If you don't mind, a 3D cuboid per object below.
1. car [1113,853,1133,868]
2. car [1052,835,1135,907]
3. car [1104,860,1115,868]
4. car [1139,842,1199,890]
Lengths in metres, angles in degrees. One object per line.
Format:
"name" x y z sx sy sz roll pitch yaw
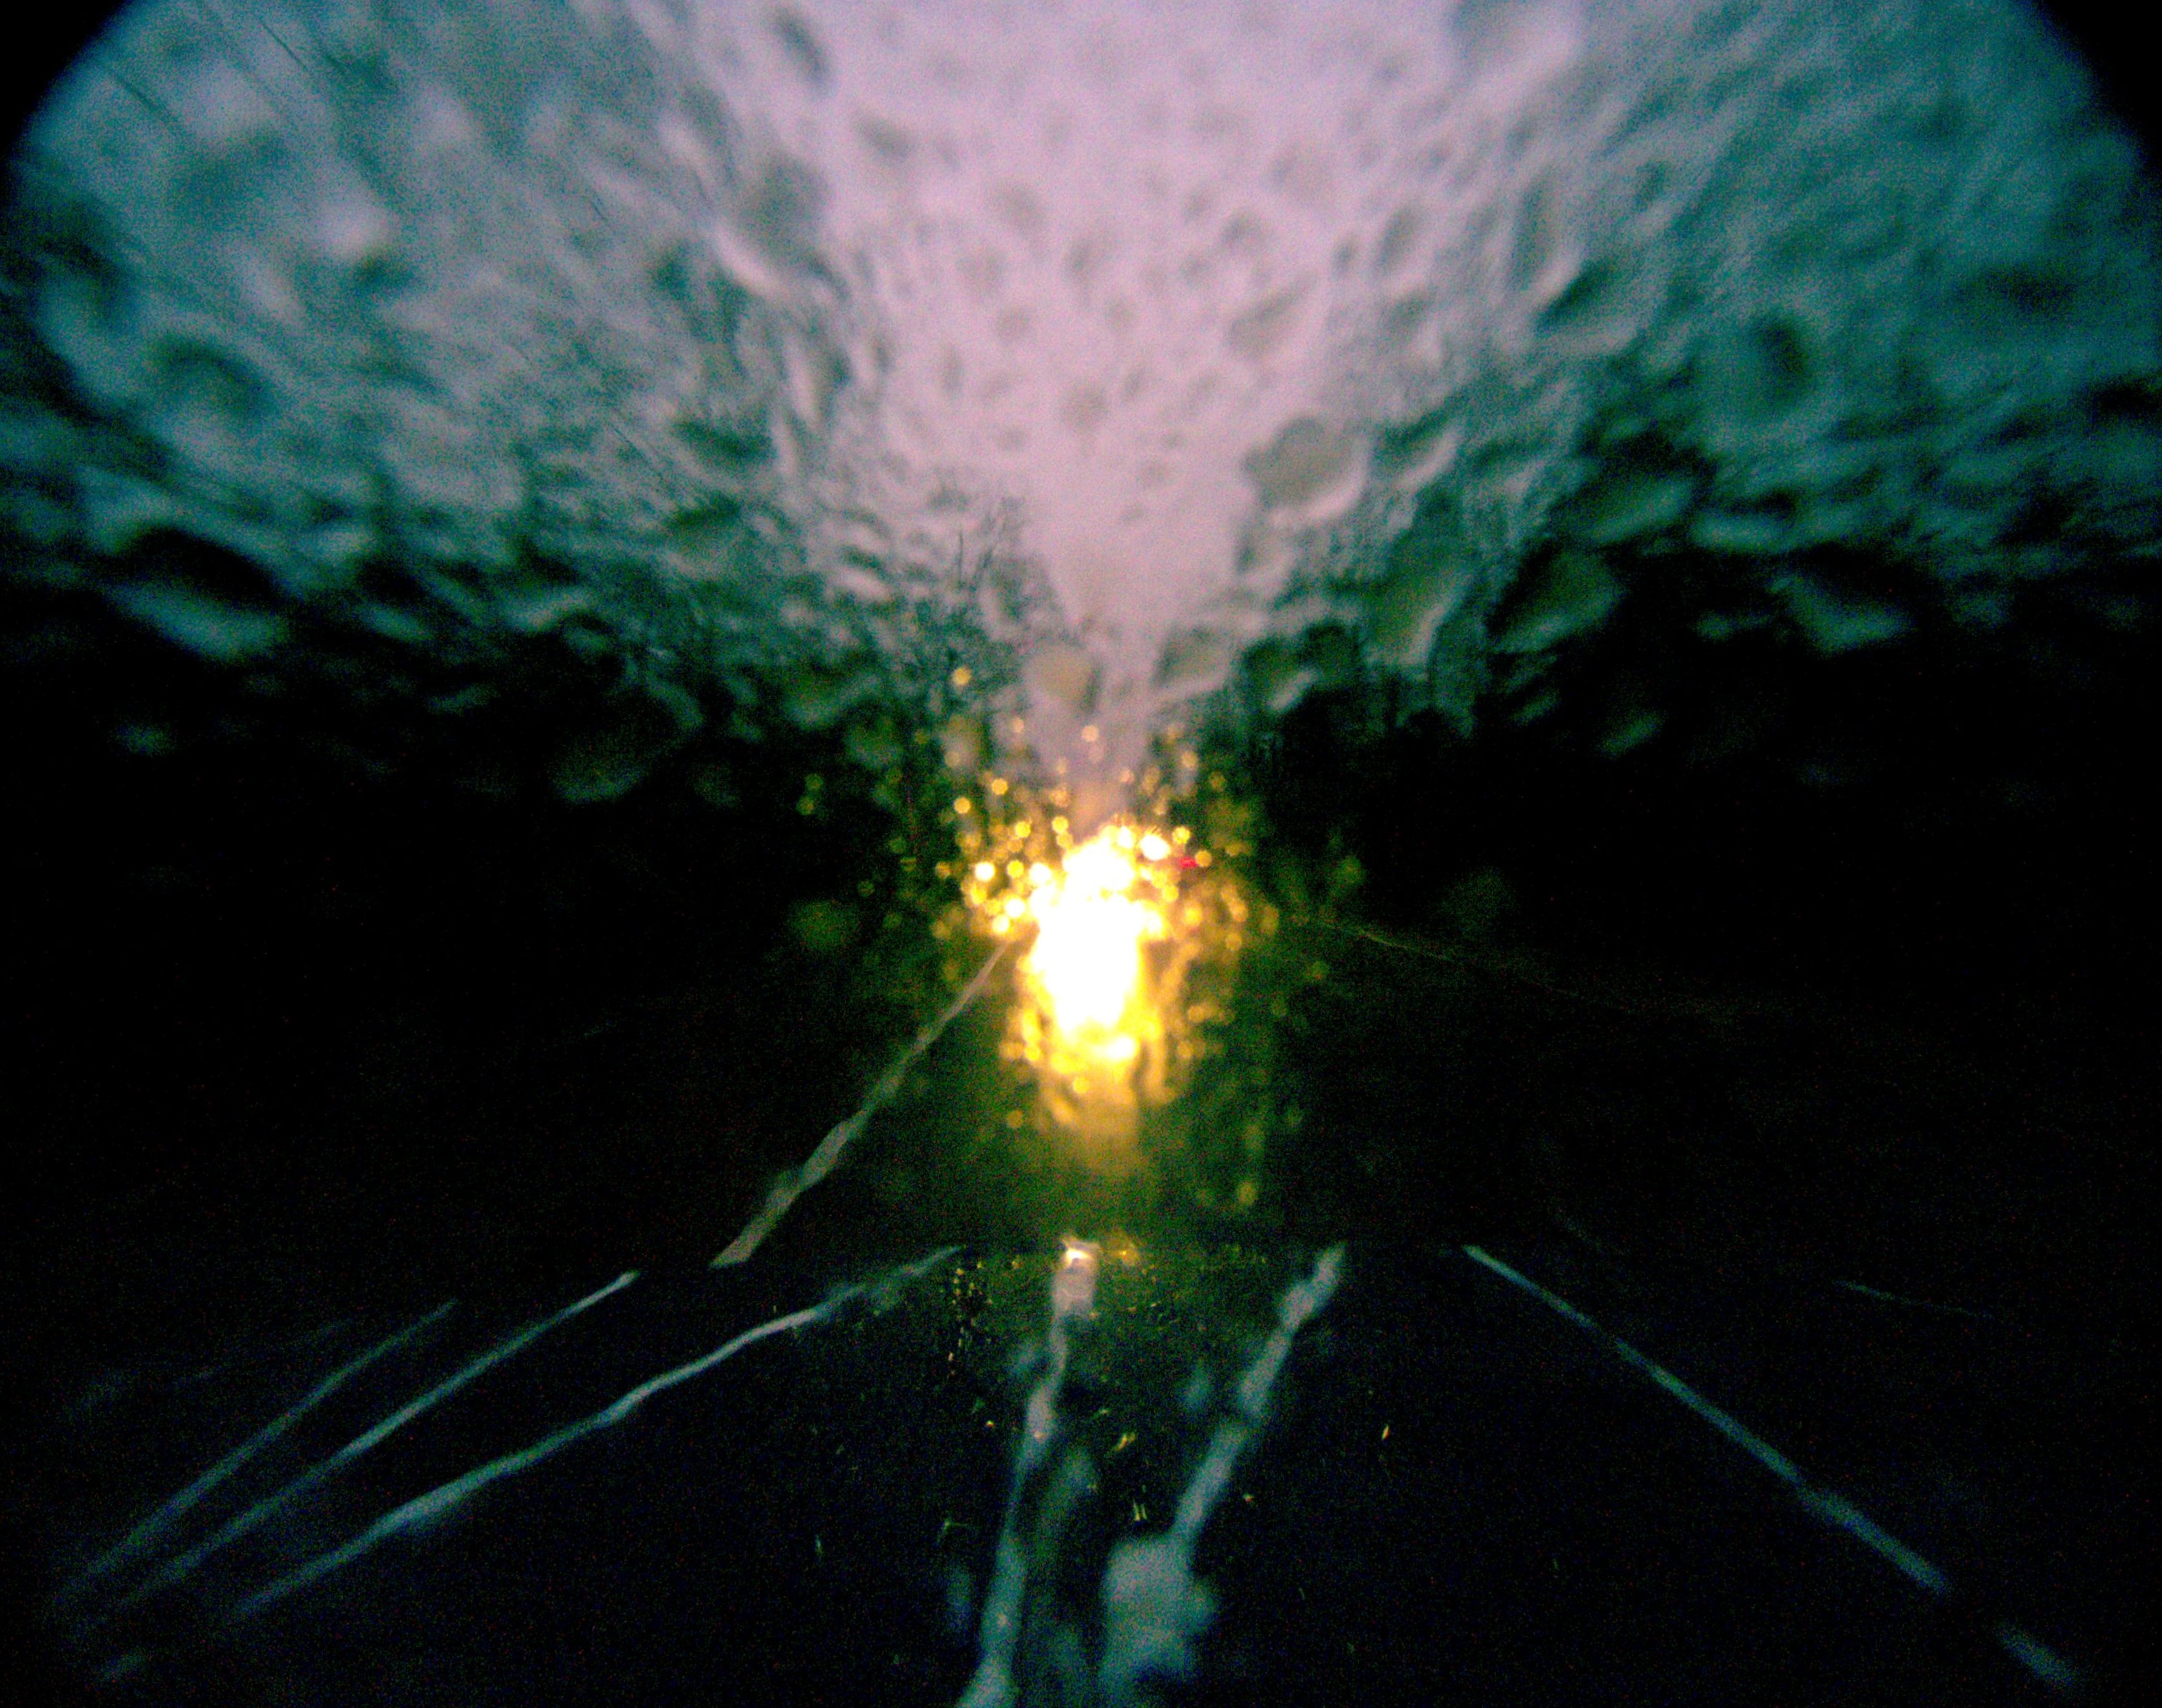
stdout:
"car" 4.646 0.727 84.173 2.080 1.607 4.152 0 0 2
"car" 0.479 0.520 27.121 2.542 2.213 6.169 -2 0 1
"car" 5.098 1.780 136.563 1.873 1.414 4.387 -1 0 0
"car" 3.834 0.493 33.896 2.012 1.977 5.031 1 0 0
